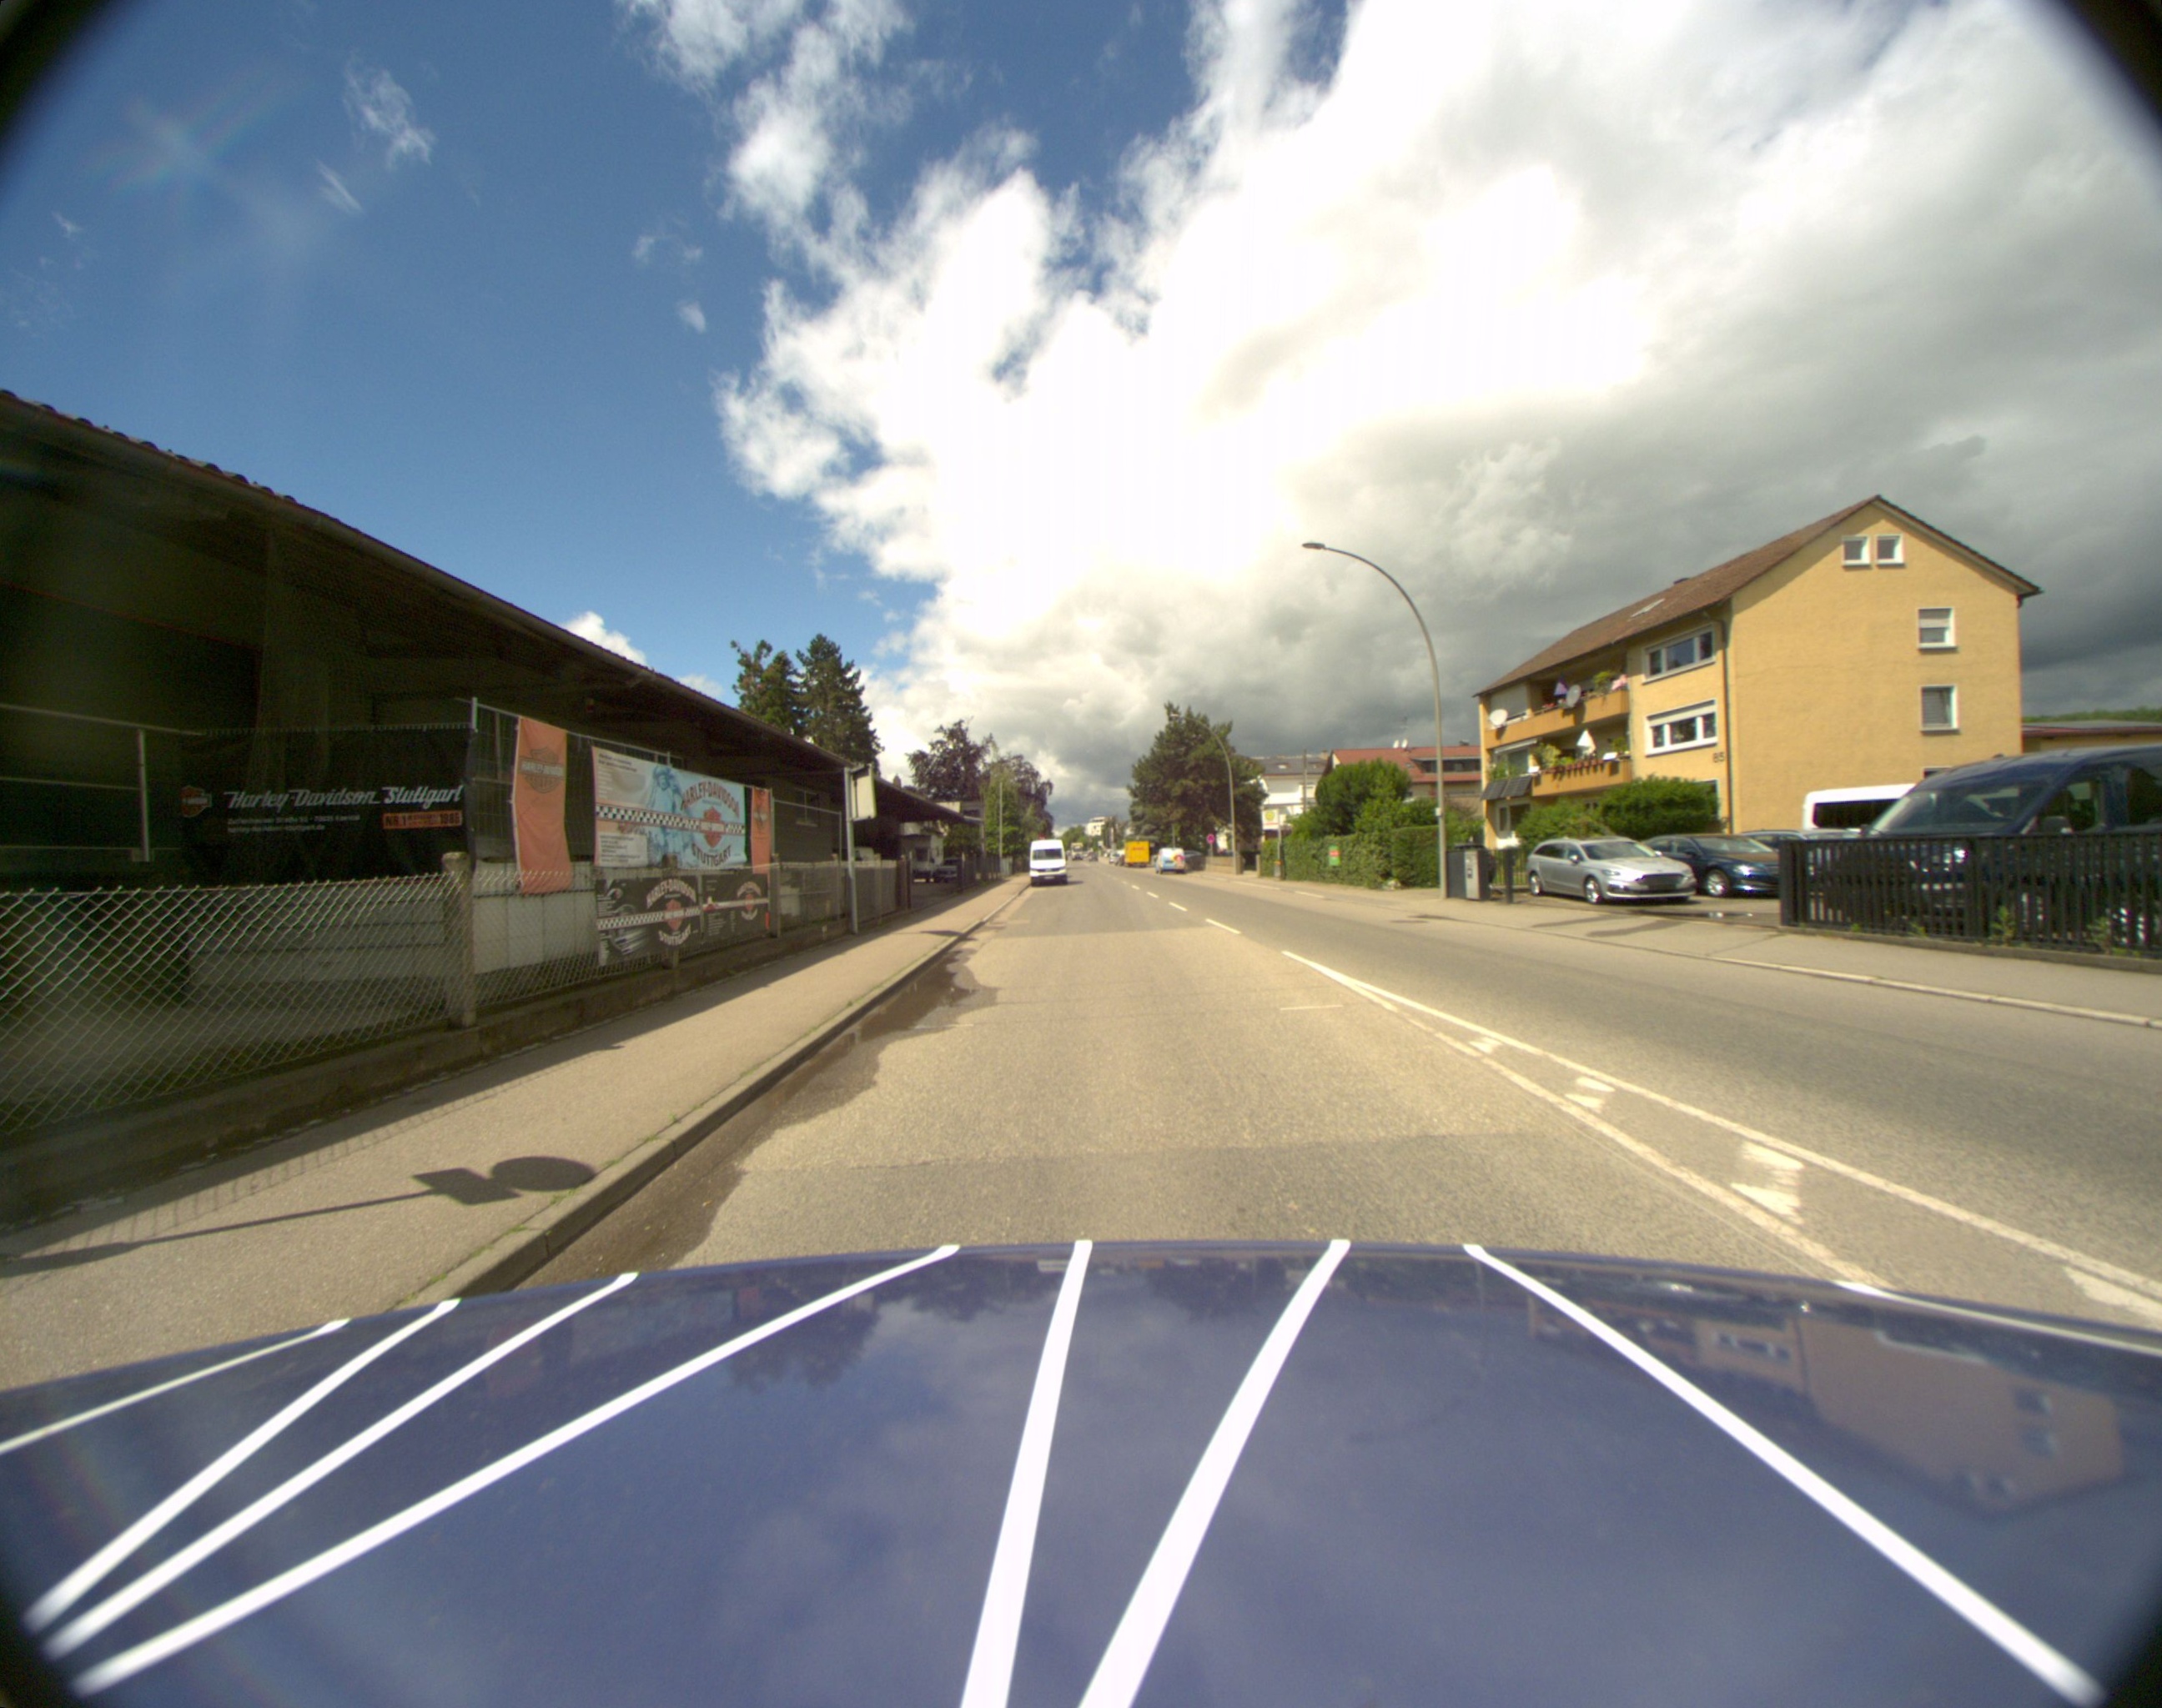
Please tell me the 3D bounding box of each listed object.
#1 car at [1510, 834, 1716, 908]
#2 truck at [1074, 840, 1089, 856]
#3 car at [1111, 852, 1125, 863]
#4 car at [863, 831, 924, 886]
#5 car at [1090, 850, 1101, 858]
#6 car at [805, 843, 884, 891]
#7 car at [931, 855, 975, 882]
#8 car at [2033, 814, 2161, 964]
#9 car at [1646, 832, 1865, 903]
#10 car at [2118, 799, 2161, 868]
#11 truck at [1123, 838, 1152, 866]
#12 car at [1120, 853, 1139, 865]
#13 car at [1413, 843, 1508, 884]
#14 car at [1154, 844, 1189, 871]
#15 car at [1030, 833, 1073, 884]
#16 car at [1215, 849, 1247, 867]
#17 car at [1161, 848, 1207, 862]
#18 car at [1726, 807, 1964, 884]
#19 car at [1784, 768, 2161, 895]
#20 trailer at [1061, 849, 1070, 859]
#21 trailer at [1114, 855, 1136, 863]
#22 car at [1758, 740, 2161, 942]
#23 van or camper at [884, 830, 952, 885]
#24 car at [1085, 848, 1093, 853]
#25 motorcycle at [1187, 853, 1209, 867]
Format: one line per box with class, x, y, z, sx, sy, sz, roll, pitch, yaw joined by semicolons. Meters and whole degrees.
car;12.460;0.339;18.344;1.997;1.477;5.344;-2;0;10
truck;0.053;-1.365;172.362;2.880;3.290;8.605;-4;1;-1
car;5.709;0.466;117.229;1.809;1.666;4.127;0;0;-1
car;-9.973;0.273;40.906;2.023;2.665;5.497;-2;-1;-2
car;2.766;0.071;147.680;1.906;1.509;4.317;-1;0;-2
car;-10.475;0.561;34.045;1.999;1.898;4.853;-2;0;-1
car;-7.483;0.825;44.763;1.769;1.480;4.926;-2;0;-1
car;12.471;0.345;6.959;2.037;1.585;4.283;-2;0;-4
car;15.412;0.257;17.740;1.848;1.418;4.334;-2;0;11
car;28.646;-0.542;18.157;1.849;1.781;4.330;-2;0;0
truck;6.311;-0.196;85.564;2.330;2.986;7.816;0;0;-2
car;5.956;0.575;93.271;1.999;1.445;4.811;2;0;-1
car;14.271;0.317;28.839;1.848;1.418;4.332;-2;0;7
car;6.588;0.272;55.638;1.838;1.842;4.895;1;-1;-1
car;-1.705;0.231;43.769;2.221;2.673;6.656;-1;0;-2
car;13.685;0.357;69.662;1.772;1.534;4.086;-2;0;-5
car;11.929;0.108;87.993;5.021;1.543;1.972;-2;1;-2
car;17.826;-0.182;18.079;1.848;1.568;4.334;-2;0;11
car;20.577;-0.454;17.932;2.418;2.481;6.135;0;0;2
trailer;-3.585;-0.042;177.286;2.045;2.214;5.078;-1;0;0
trailer;5.737;0.639;99.583;2.324;0.985;7.458;0;0;-1
car;13.848;-0.209;10.923;6.053;2.482;2.477;-2;0;-1
van or camper;-9.917;0.211;46.931;2.889;3.043;6.911;-2;0;-2
car;2.319;-1.022;214.961;1.987;1.412;3.999;-1;0;-3
motorcycle;10.572;0.520;68.473;1.872;1.159;0.825;-2;0;16
